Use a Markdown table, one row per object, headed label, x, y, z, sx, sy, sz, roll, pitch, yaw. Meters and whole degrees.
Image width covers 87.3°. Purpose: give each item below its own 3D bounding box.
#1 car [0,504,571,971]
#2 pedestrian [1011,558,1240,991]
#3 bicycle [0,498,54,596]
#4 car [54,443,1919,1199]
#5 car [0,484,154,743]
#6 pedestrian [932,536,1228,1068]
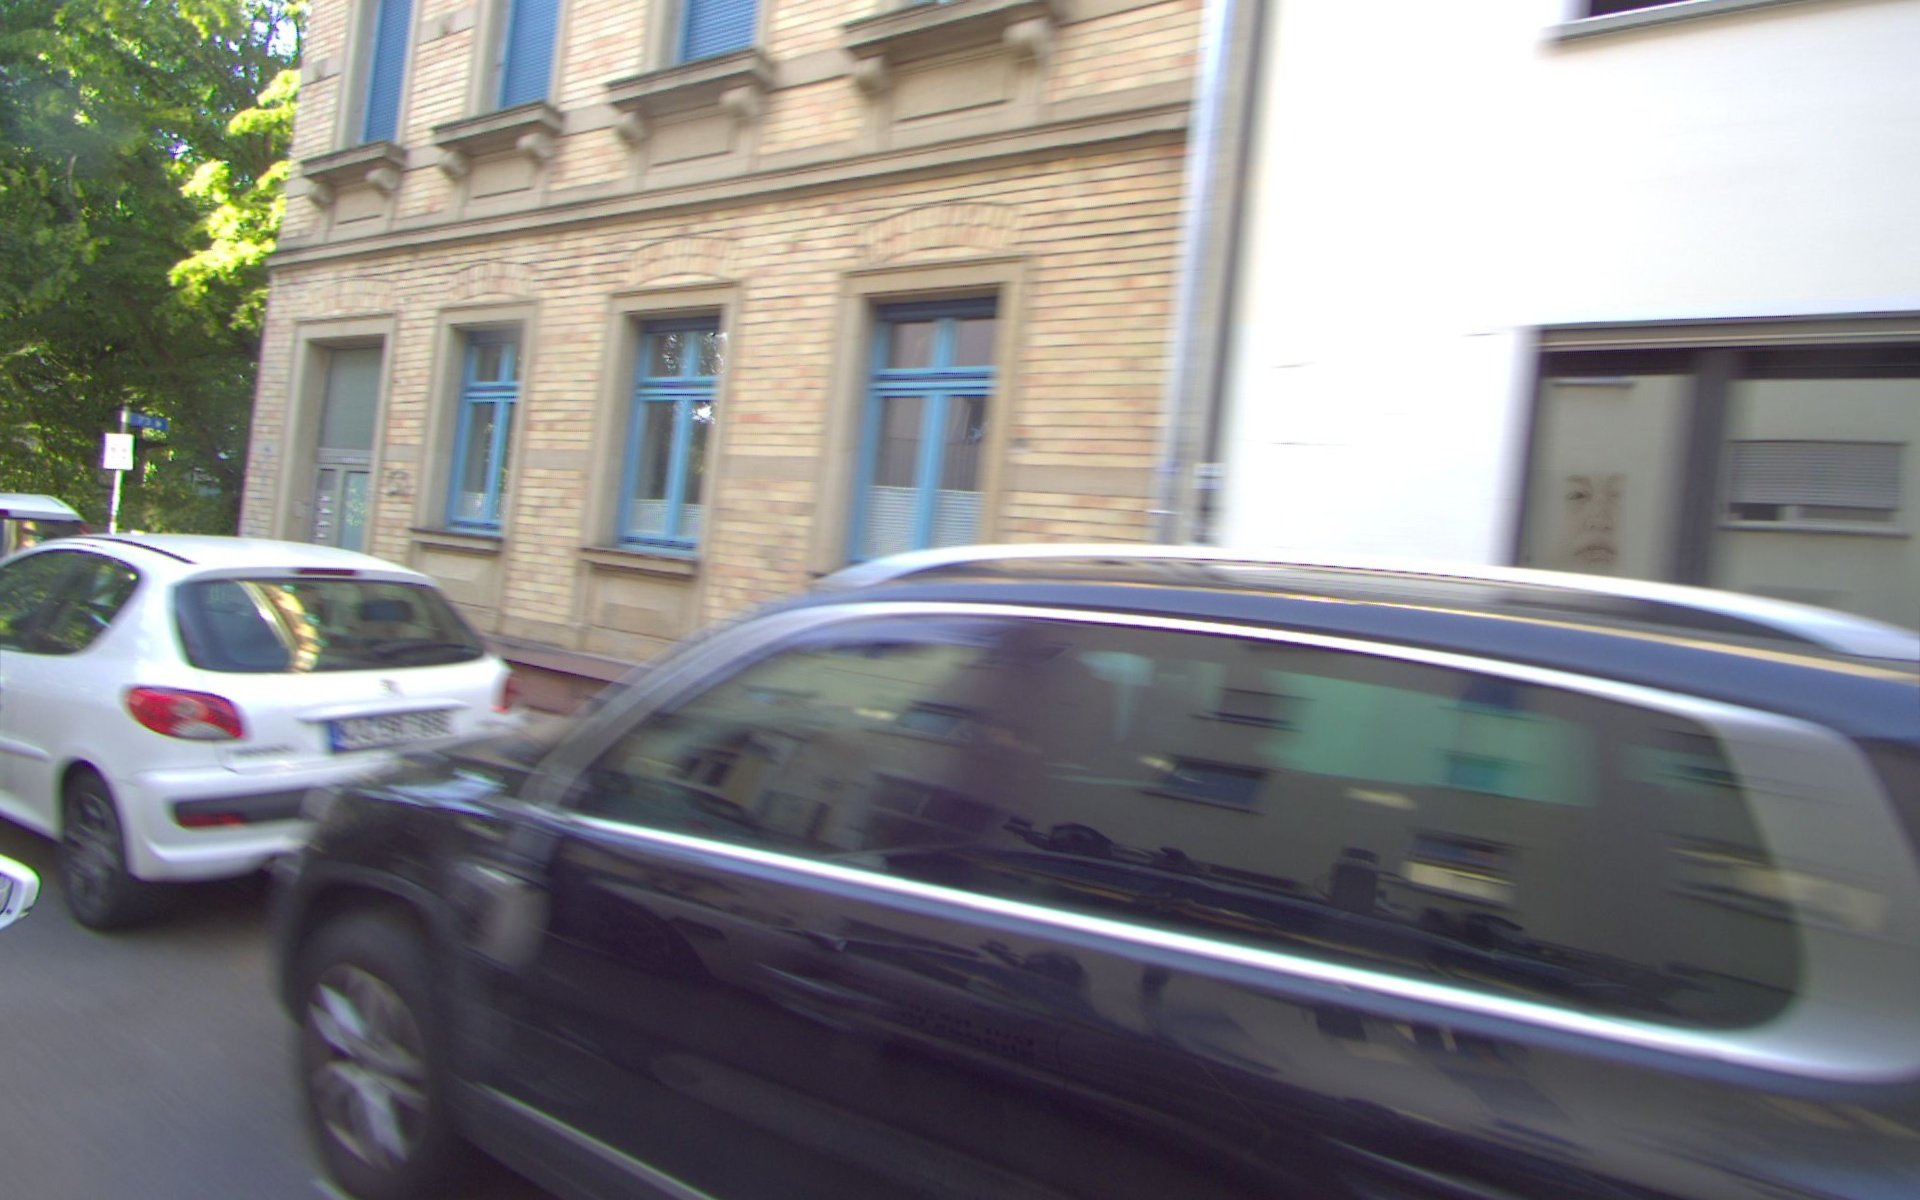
| label | x | y | z | sx | sy | sz | roll | pitch | yaw |
| --- | --- | --- | --- | --- | --- | --- | --- | --- | --- |
| car | -3.968 | 0.351 | 5.008 | 3.935 | 1.470 | 1.594 | 6 | 2 | 29 |
| pedestrian | 0.747 | 0.717 | 4.523 | 0.694 | 1.732 | 0.597 | 7 | 4 | 31 |
| bicycle | -14.305 | -0.845 | 14.511 | 2.289 | 1.319 | 1.290 | 7 | 2 | 34 |
| car | -0.084 | 0.654 | 2.335 | 4.255 | 1.689 | 1.767 | 6 | 2 | 30 |
| car | -7.556 | -0.089 | 7.142 | 3.701 | 1.605 | 1.595 | 6 | 0 | 31 |
| pedestrian | 0.464 | 0.673 | 3.810 | 0.740 | 1.732 | 0.710 | 7 | 4 | 31 |
